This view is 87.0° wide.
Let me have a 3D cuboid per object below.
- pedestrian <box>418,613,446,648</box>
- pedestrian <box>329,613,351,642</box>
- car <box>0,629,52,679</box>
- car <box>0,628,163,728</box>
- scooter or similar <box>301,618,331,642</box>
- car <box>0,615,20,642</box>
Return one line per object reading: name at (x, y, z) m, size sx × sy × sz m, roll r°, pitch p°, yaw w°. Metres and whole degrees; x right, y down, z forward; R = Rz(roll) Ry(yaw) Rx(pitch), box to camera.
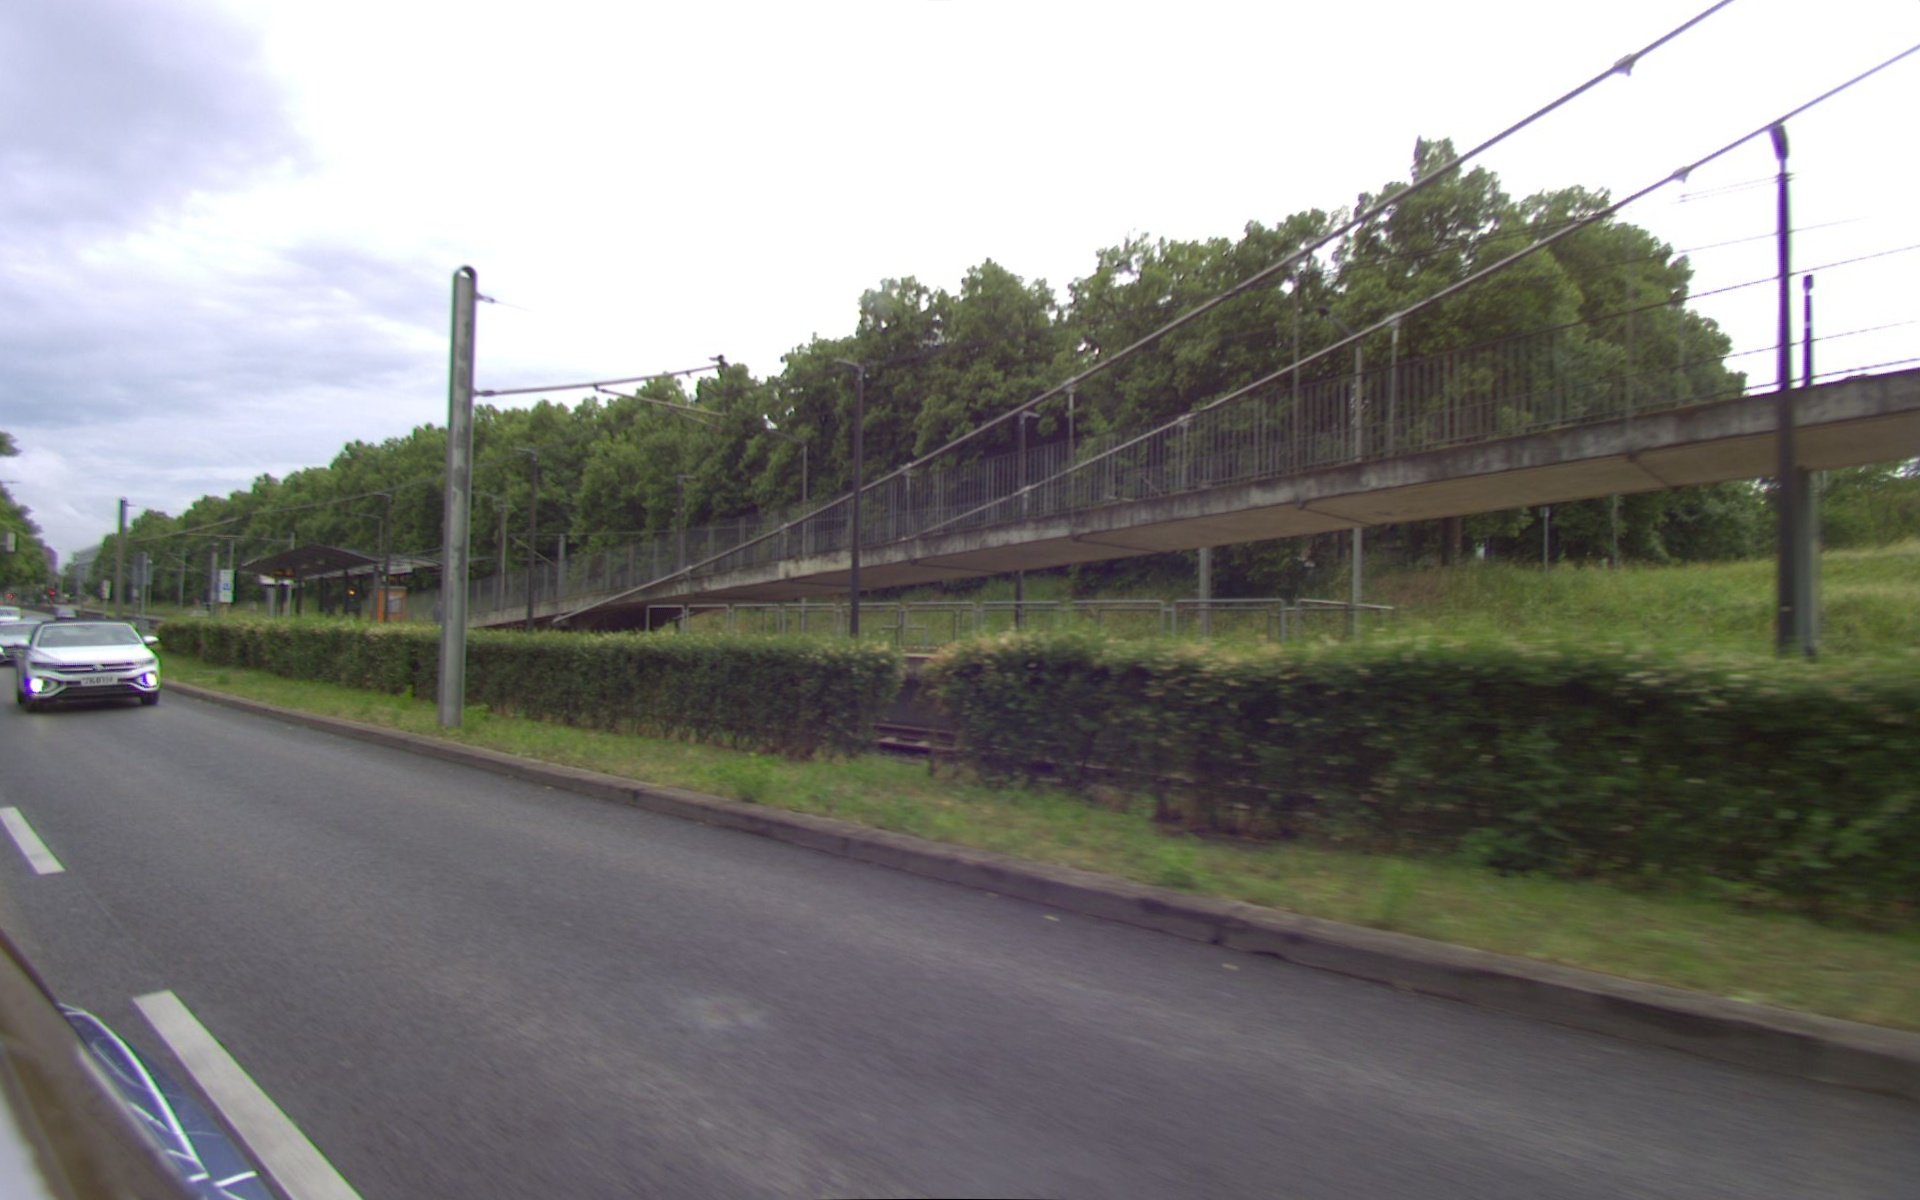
pedestrian at (-24.694, 1.426, 47.344) m, size 0.924 × 1.623 × 1.028 m, roll 2°, pitch -2°, yaw -43°
pedestrian at (-30.082, 1.330, 49.074) m, size 0.744 × 1.366 × 0.692 m, roll 2°, pitch -2°, yaw -45°
car at (-31.245, 1.748, 33.363) m, size 1.932 × 1.492 × 4.705 m, roll 0°, pitch -1°, yaw -42°
car at (-15.994, 1.294, 18.277) m, size 4.701 × 1.476 × 1.933 m, roll -1°, pitch 0°, yaw 45°
scooter or similar at (-32.839, 1.532, 51.599) m, size 1.283 × 1.227 × 0.379 m, roll 0°, pitch 0°, yaw 2°
car at (-71.946, 2.149, 75.953) m, size 1.933 × 1.940 × 4.849 m, roll 0°, pitch -1°, yaw -44°
